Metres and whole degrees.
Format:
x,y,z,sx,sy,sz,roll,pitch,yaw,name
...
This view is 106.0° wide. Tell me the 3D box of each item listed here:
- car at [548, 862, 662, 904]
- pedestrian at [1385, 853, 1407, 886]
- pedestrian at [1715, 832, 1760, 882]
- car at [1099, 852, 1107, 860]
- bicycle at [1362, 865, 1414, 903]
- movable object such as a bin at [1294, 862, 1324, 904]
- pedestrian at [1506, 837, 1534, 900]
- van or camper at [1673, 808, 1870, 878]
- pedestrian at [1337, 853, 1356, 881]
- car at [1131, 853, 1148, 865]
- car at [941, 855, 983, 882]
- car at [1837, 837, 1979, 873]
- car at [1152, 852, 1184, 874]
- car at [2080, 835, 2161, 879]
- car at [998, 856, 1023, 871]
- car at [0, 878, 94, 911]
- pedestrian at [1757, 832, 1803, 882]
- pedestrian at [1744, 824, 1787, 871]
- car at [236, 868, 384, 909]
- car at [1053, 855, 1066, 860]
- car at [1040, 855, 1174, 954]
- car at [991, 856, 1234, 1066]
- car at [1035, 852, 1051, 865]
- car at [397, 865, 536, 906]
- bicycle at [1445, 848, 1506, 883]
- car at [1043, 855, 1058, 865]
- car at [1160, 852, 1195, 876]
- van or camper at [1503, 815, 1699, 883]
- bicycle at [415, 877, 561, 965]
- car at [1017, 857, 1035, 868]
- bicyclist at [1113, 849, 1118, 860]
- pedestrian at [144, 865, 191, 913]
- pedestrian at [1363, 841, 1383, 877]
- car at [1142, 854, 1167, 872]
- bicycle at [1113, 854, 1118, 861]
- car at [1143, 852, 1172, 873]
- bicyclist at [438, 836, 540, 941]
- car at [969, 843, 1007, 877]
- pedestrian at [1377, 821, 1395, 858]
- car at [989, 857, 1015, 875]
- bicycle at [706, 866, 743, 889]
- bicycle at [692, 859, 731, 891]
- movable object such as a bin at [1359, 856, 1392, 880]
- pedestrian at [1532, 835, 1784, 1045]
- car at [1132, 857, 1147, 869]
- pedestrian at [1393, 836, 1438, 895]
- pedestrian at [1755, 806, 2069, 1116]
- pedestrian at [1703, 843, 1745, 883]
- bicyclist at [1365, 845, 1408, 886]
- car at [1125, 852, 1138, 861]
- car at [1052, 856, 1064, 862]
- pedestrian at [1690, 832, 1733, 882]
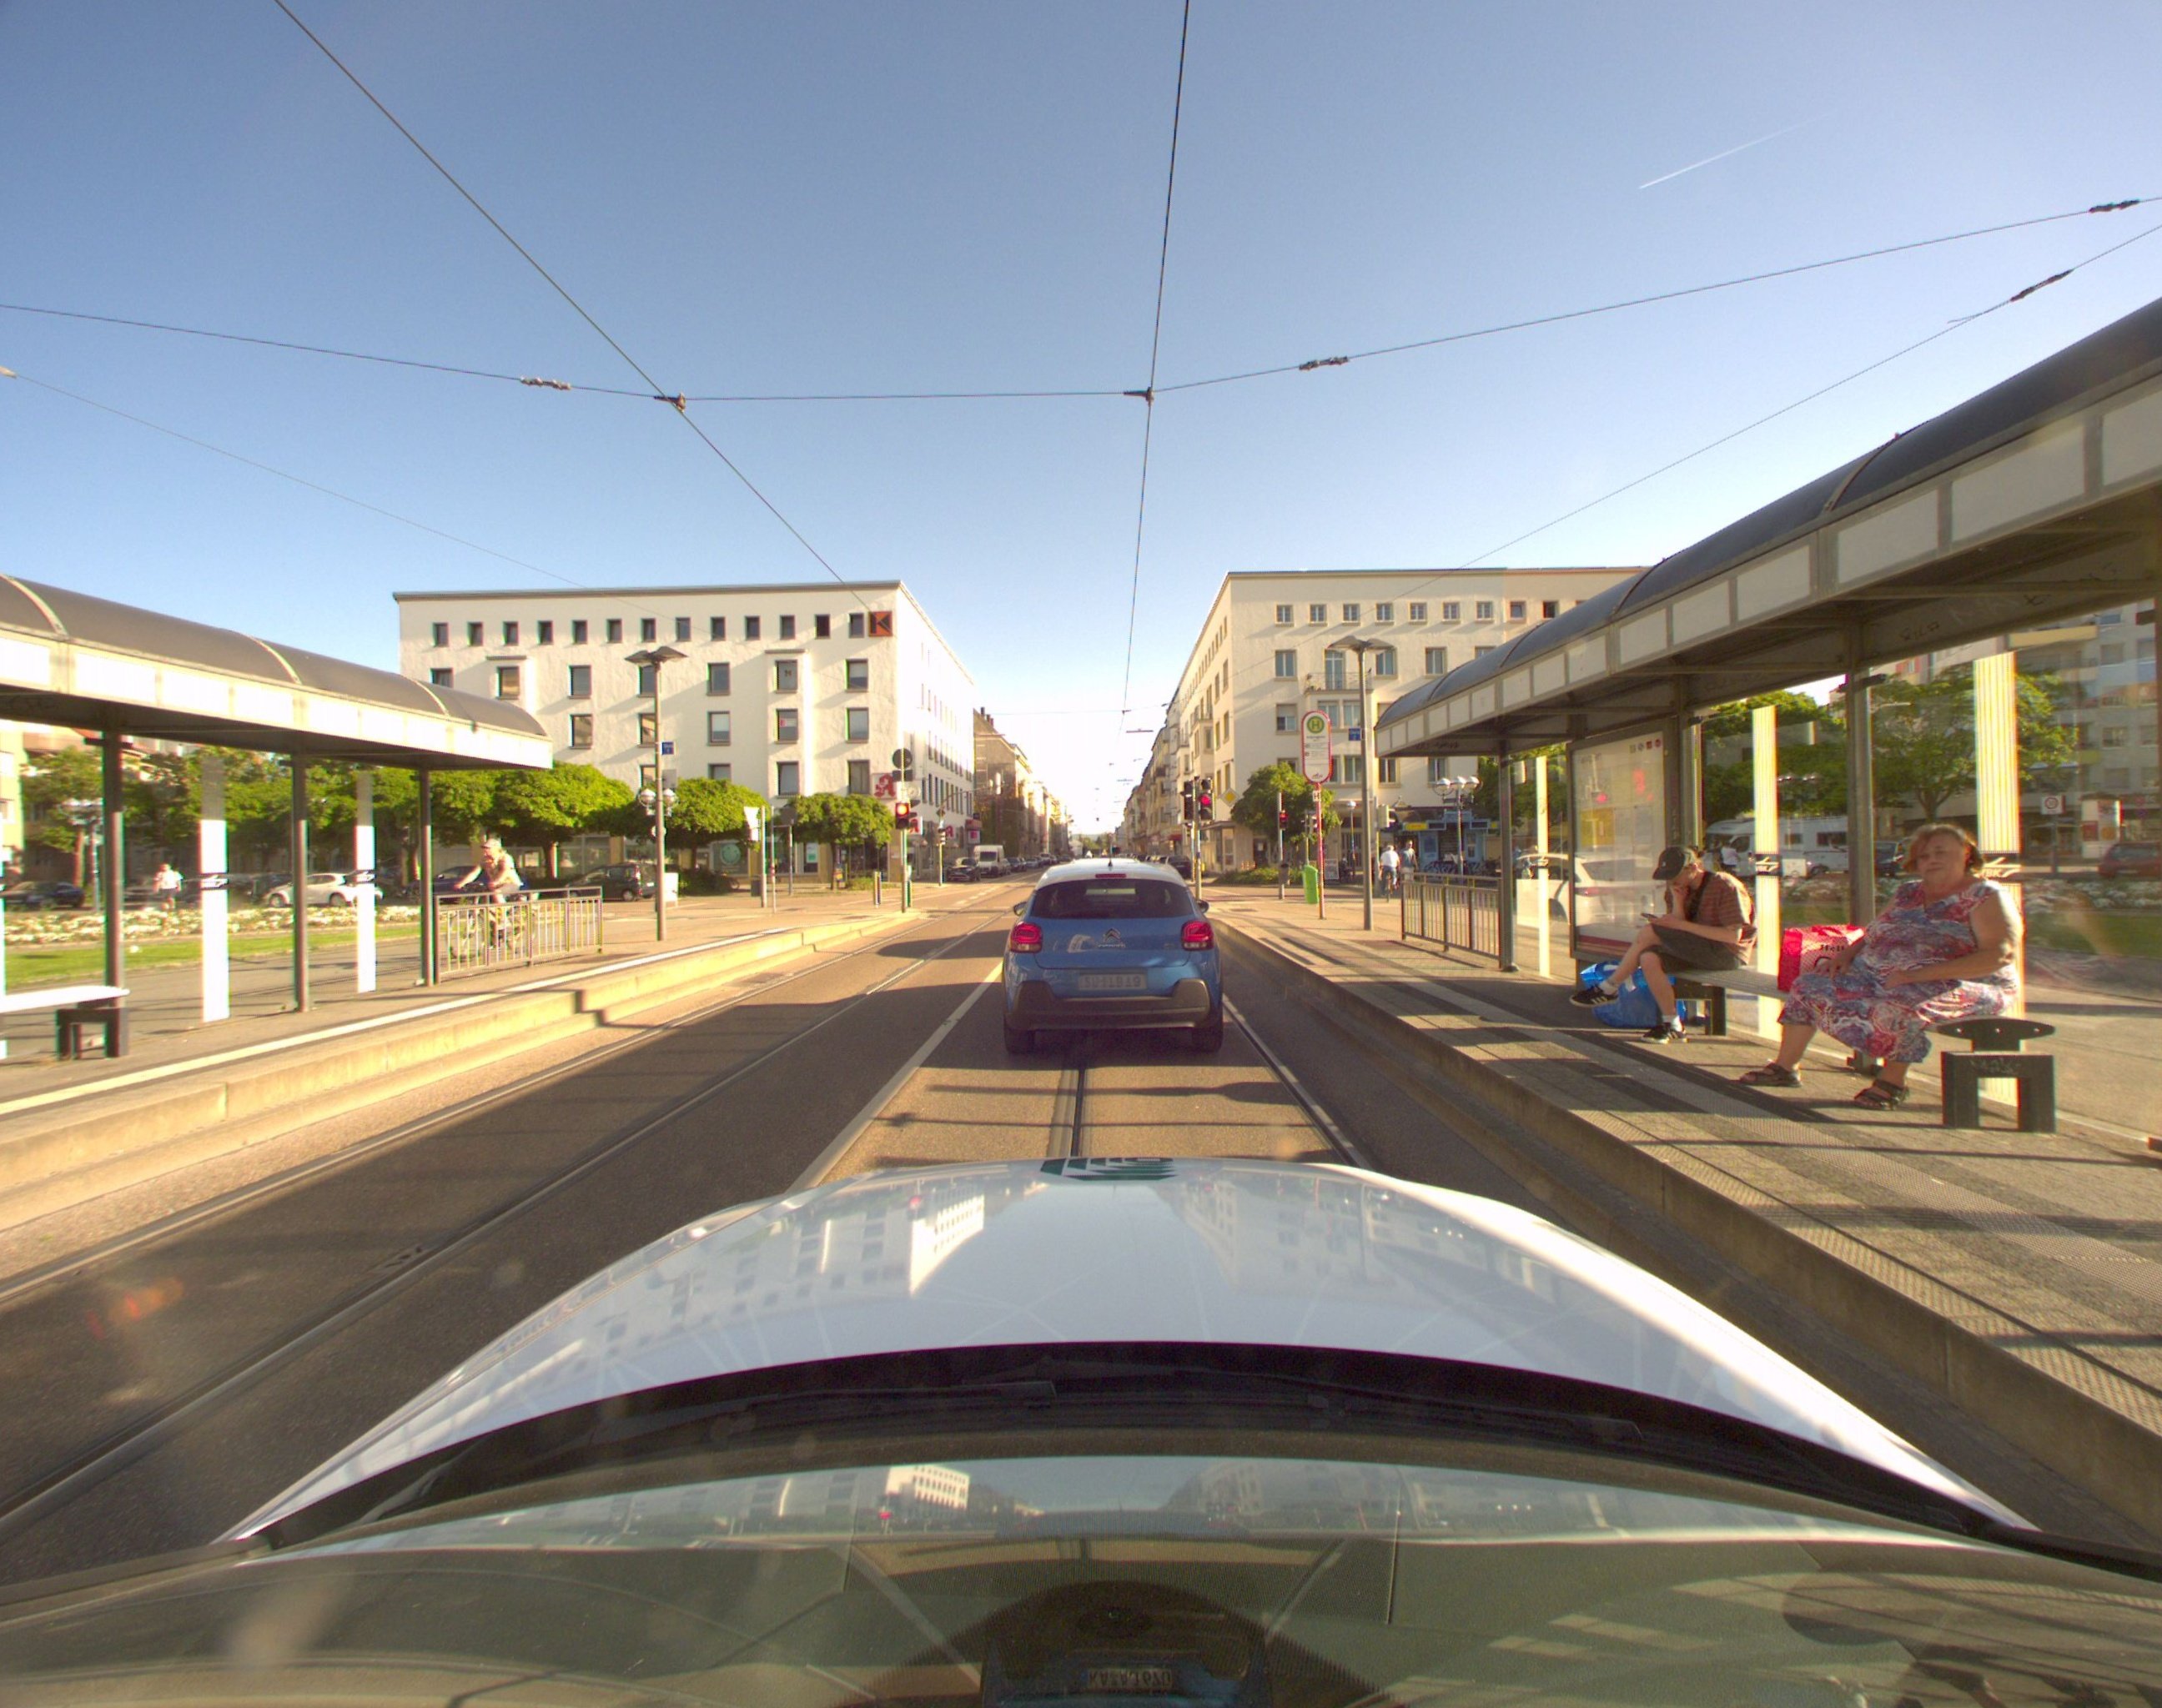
x,y,z,sx,sy,sz,roll,pitch,yaw,name
-21.250,1.271,36.433,3.973,1.706,1.826,-1,0,1,car
14.194,0.689,36.750,0.727,1.409,0.755,-1,3,2,pedestrian
21.365,0.097,26.517,0.897,1.585,0.663,-1,0,5,pedestrian
5.301,0.514,194.152,1.986,1.772,4.002,-1,0,2,car
9.343,0.894,24.863,0.716,1.061,2.323,1,0,0,bicycle
4.345,0.547,15.523,0.447,0.786,0.489,-1,0,4,movable object such as a bin
12.249,0.402,22.749,0.554,1.745,0.528,0,-1,12,pedestrian
30.116,-0.467,35.711,6.375,2.839,2.381,-1,0,5,van or camper
12.705,0.632,38.964,0.733,1.316,0.631,-1,0,25,pedestrian
7.314,0.603,102.084,1.986,1.464,4.507,-1,0,2,car
-7.661,0.918,52.759,1.987,1.569,4.403,2,-1,1,car
36.604,0.065,36.156,3.959,1.511,2.007,0,-1,13,car
6.072,0.622,57.152,1.986,1.464,4.002,-1,0,2,car
38.639,0.063,29.061,3.983,1.486,1.995,-1,0,-7,car
-6.711,0.916,78.406,1.987,1.398,4.157,0,-1,1,car
-52.055,1.999,40.668,1.925,1.494,4.314,0,-1,-27,car
22.516,0.090,26.251,0.897,1.585,0.663,-1,0,5,pedestrian
23.530,-0.223,28.007,0.897,1.585,0.663,-1,0,5,pedestrian
-33.520,1.489,35.509,4.591,1.606,1.855,-1,0,-1,car
-4.870,0.776,185.211,1.981,1.156,4.528,-1,0,11,car
0.456,0.760,14.510,1.977,1.464,4.817,0,0,2,car
0.281,0.763,7.702,1.721,1.482,3.828,0,0,2,car
-5.888,0.711,127.078,1.997,2.014,4.694,0,-1,4,car
-27.191,1.381,36.174,4.591,1.662,1.999,-1,0,-1,car
17.714,0.520,36.580,2.376,1.531,0.726,1,0,0,bicycle
-5.116,1.003,136.979,1.946,1.552,3.942,0,-1,4,car
6.155,0.640,52.452,1.902,1.464,4.002,-1,0,2,car
22.852,-0.226,36.013,7.093,2.747,2.372,-1,1,2,van or camper
-8.529,0.924,11.835,0.726,1.113,1.975,-1,0,-2,bicycle
-6.934,1.065,103.575,1.987,1.325,3.923,0,-1,1,car
6.581,0.078,154.824,0.806,2.014,0.923,0,-1,2,bicyclist
-36.043,1.371,32.127,0.938,1.817,0.872,-1,0,13,pedestrian
15.152,0.238,42.248,0.781,1.839,0.679,-1,0,5,pedestrian
6.567,0.791,73.220,1.986,1.464,4.002,-1,0,2,car
6.593,0.669,154.773,0.916,1.389,3.133,-1,0,2,bicycle
5.892,0.660,62.960,1.986,1.501,4.002,-1,0,2,car
-8.526,0.487,11.774,0.825,1.455,0.876,0,-1,-3,bicyclist
-7.129,0.439,63.118,2.078,2.542,6.206,0,0,1,car
15.608,-0.726,41.663,0.650,1.839,0.660,-1,0,5,pedestrian
-6.753,0.982,69.867,1.881,1.496,3.562,0,-1,1,car
-19.113,1.246,43.708,0.615,1.190,2.624,-1,0,5,bicycle
-19.836,1.107,43.750,0.614,1.607,2.625,-1,0,6,bicycle
14.454,0.696,40.052,1.194,1.153,1.218,-1,0,2,movable object such as a bin
3.714,0.519,5.340,0.995,1.225,0.923,2,-1,1,pedestrian
7.818,1.237,109.179,1.985,1.552,4.004,-1,0,3,car
10.998,0.386,26.825,0.978,1.878,1.128,-1,-1,-1,pedestrian
3.914,0.471,3.894,0.855,1.334,0.623,2,-1,1,pedestrian
21.440,0.297,27.183,0.897,1.279,0.606,-1,0,7,pedestrian
9.349,0.335,24.946,0.947,1.225,0.934,1,0,0,bicyclist
8.299,0.446,133.198,1.986,1.464,4.002,-1,0,2,car
-4.358,0.890,154.364,1.986,1.156,4.002,-1,0,2,car
21.655,0.093,27.977,0.897,1.685,0.696,-1,0,5,pedestrian
